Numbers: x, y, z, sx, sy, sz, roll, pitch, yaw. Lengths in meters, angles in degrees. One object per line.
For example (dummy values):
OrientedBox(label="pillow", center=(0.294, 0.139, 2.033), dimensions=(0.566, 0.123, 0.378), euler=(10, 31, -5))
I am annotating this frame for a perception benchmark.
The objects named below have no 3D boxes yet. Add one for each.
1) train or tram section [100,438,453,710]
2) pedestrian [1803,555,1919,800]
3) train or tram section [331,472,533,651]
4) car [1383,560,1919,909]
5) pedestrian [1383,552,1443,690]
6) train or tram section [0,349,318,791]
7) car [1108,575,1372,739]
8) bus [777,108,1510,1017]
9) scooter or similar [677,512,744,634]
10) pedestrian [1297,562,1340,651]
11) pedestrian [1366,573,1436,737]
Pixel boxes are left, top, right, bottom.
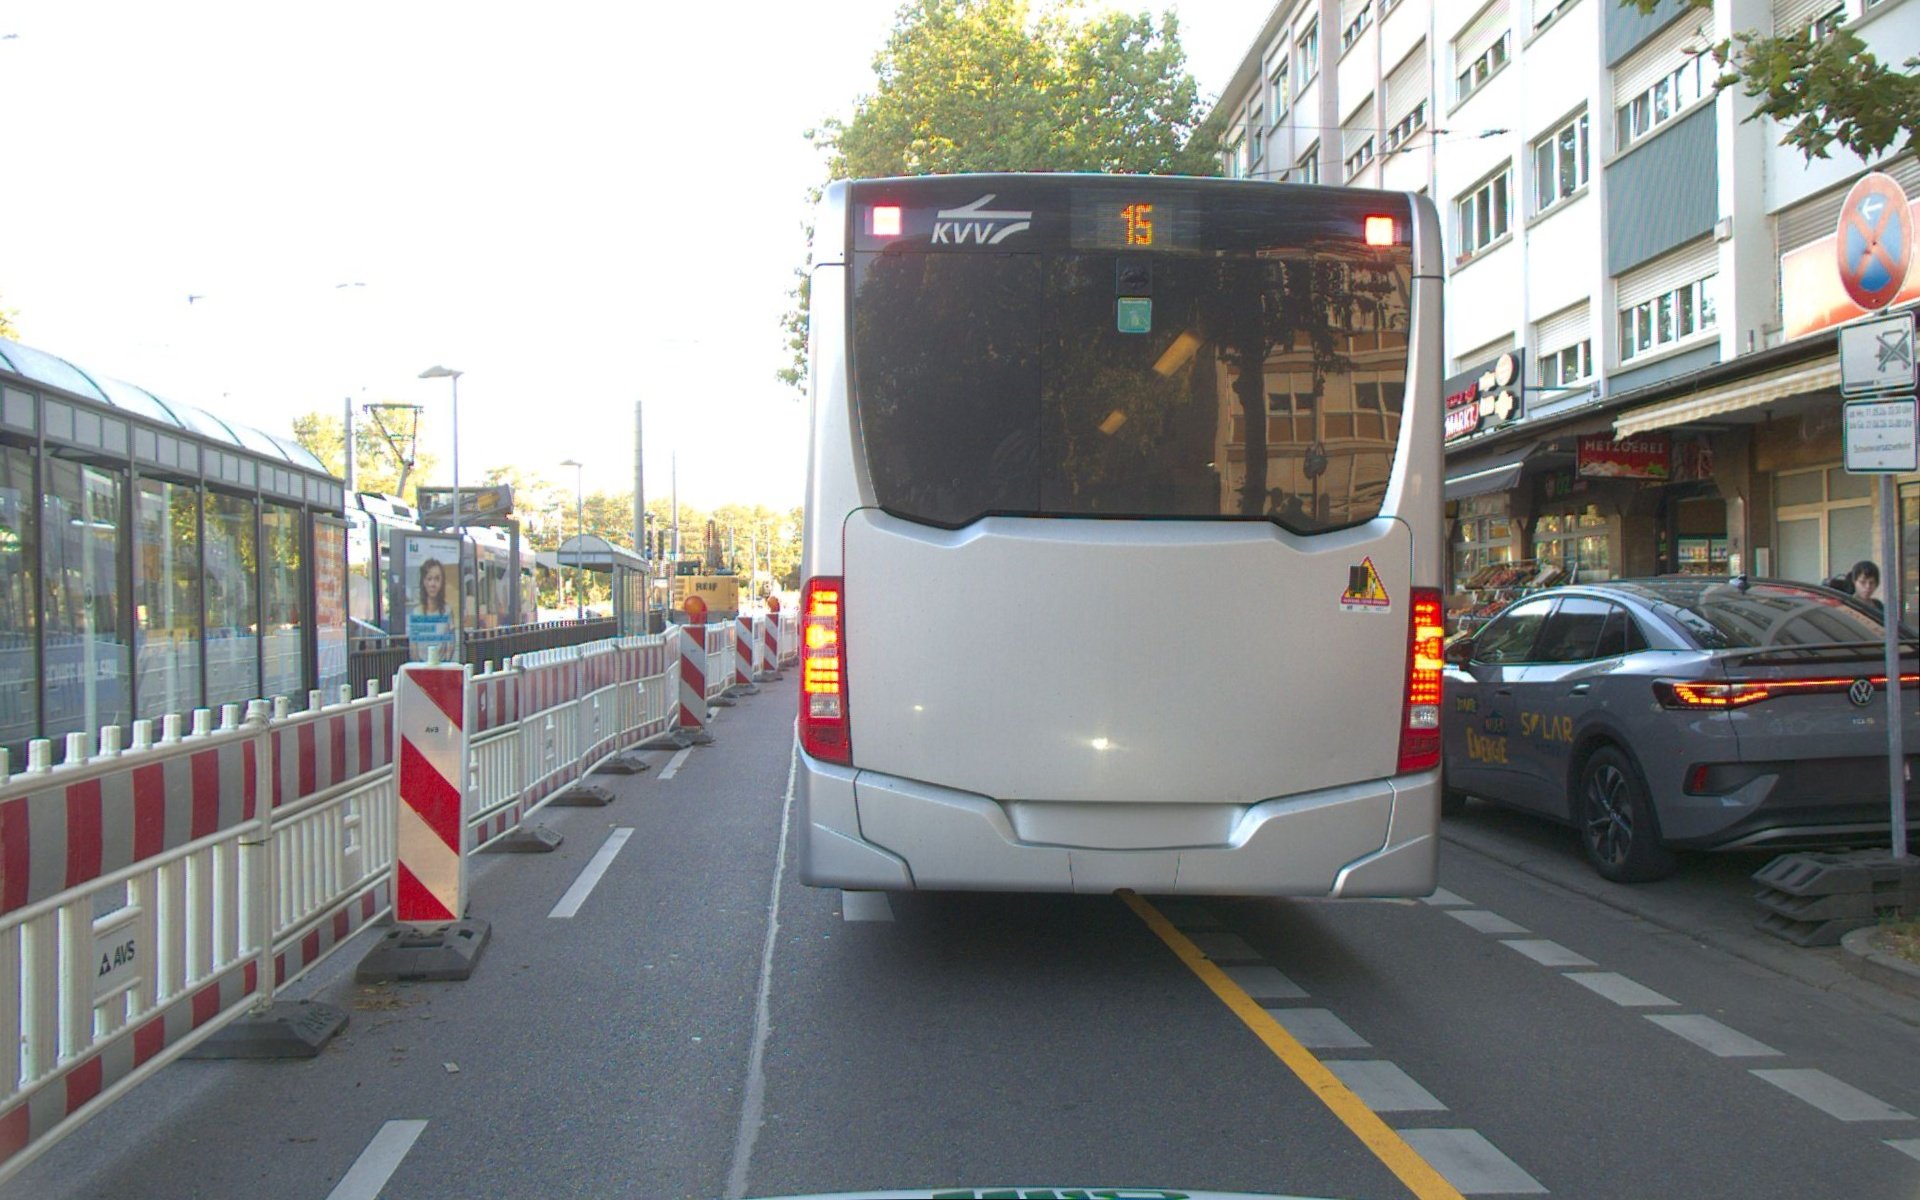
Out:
OrientedBox(label="train or tram section", center=(-10.940, -0.325, 28.012), dimensions=(2.636, 3.621, 11.560), euler=(1, 0, -8))
OrientedBox(label="pedestrian", center=(6.487, 0.526, 11.743), dimensions=(0.570, 1.675, 0.796), euler=(-1, 1, -3))
OrientedBox(label="train or tram section", center=(-12.229, -0.758, 39.432), dimensions=(2.636, 3.594, 11.559), euler=(1, 0, -8))
OrientedBox(label="car", center=(4.347, 0.621, 10.219), dimensions=(1.955, 1.609, 4.363), euler=(-3, 1, -5))
OrientedBox(label="pedestrian", center=(6.845, 0.312, 25.026), dimensions=(0.672, 2.049, 0.786), euler=(-1, 0, -1))
OrientedBox(label="train or tram section", center=(-9.457, -0.254, 16.481), dimensions=(2.635, 3.595, 11.755), euler=(1, 0, -6))
OrientedBox(label="car", center=(3.123, 0.574, 19.422), dimensions=(1.955, 1.609, 4.363), euler=(-3, 1, -5))
OrientedBox(label="bus", center=(0.606, -0.119, 9.888), dimensions=(2.558, 3.181, 7.991), euler=(1, 0, -1))
OrientedBox(label="scooter or similar", center=(-9.698, -0.999, 64.603), dimensions=(2.422, 4.549, 5.962), euler=(0, 0, -8))
OrientedBox(label="pedestrian", center=(7.636, 0.138, 35.245), dimensions=(0.672, 1.869, 0.785), euler=(-1, 0, -4))
OrientedBox(label="pedestrian", center=(4.703, 0.578, 17.647), dimensions=(0.649, 1.696, 0.601), euler=(-2, -1, 15))
